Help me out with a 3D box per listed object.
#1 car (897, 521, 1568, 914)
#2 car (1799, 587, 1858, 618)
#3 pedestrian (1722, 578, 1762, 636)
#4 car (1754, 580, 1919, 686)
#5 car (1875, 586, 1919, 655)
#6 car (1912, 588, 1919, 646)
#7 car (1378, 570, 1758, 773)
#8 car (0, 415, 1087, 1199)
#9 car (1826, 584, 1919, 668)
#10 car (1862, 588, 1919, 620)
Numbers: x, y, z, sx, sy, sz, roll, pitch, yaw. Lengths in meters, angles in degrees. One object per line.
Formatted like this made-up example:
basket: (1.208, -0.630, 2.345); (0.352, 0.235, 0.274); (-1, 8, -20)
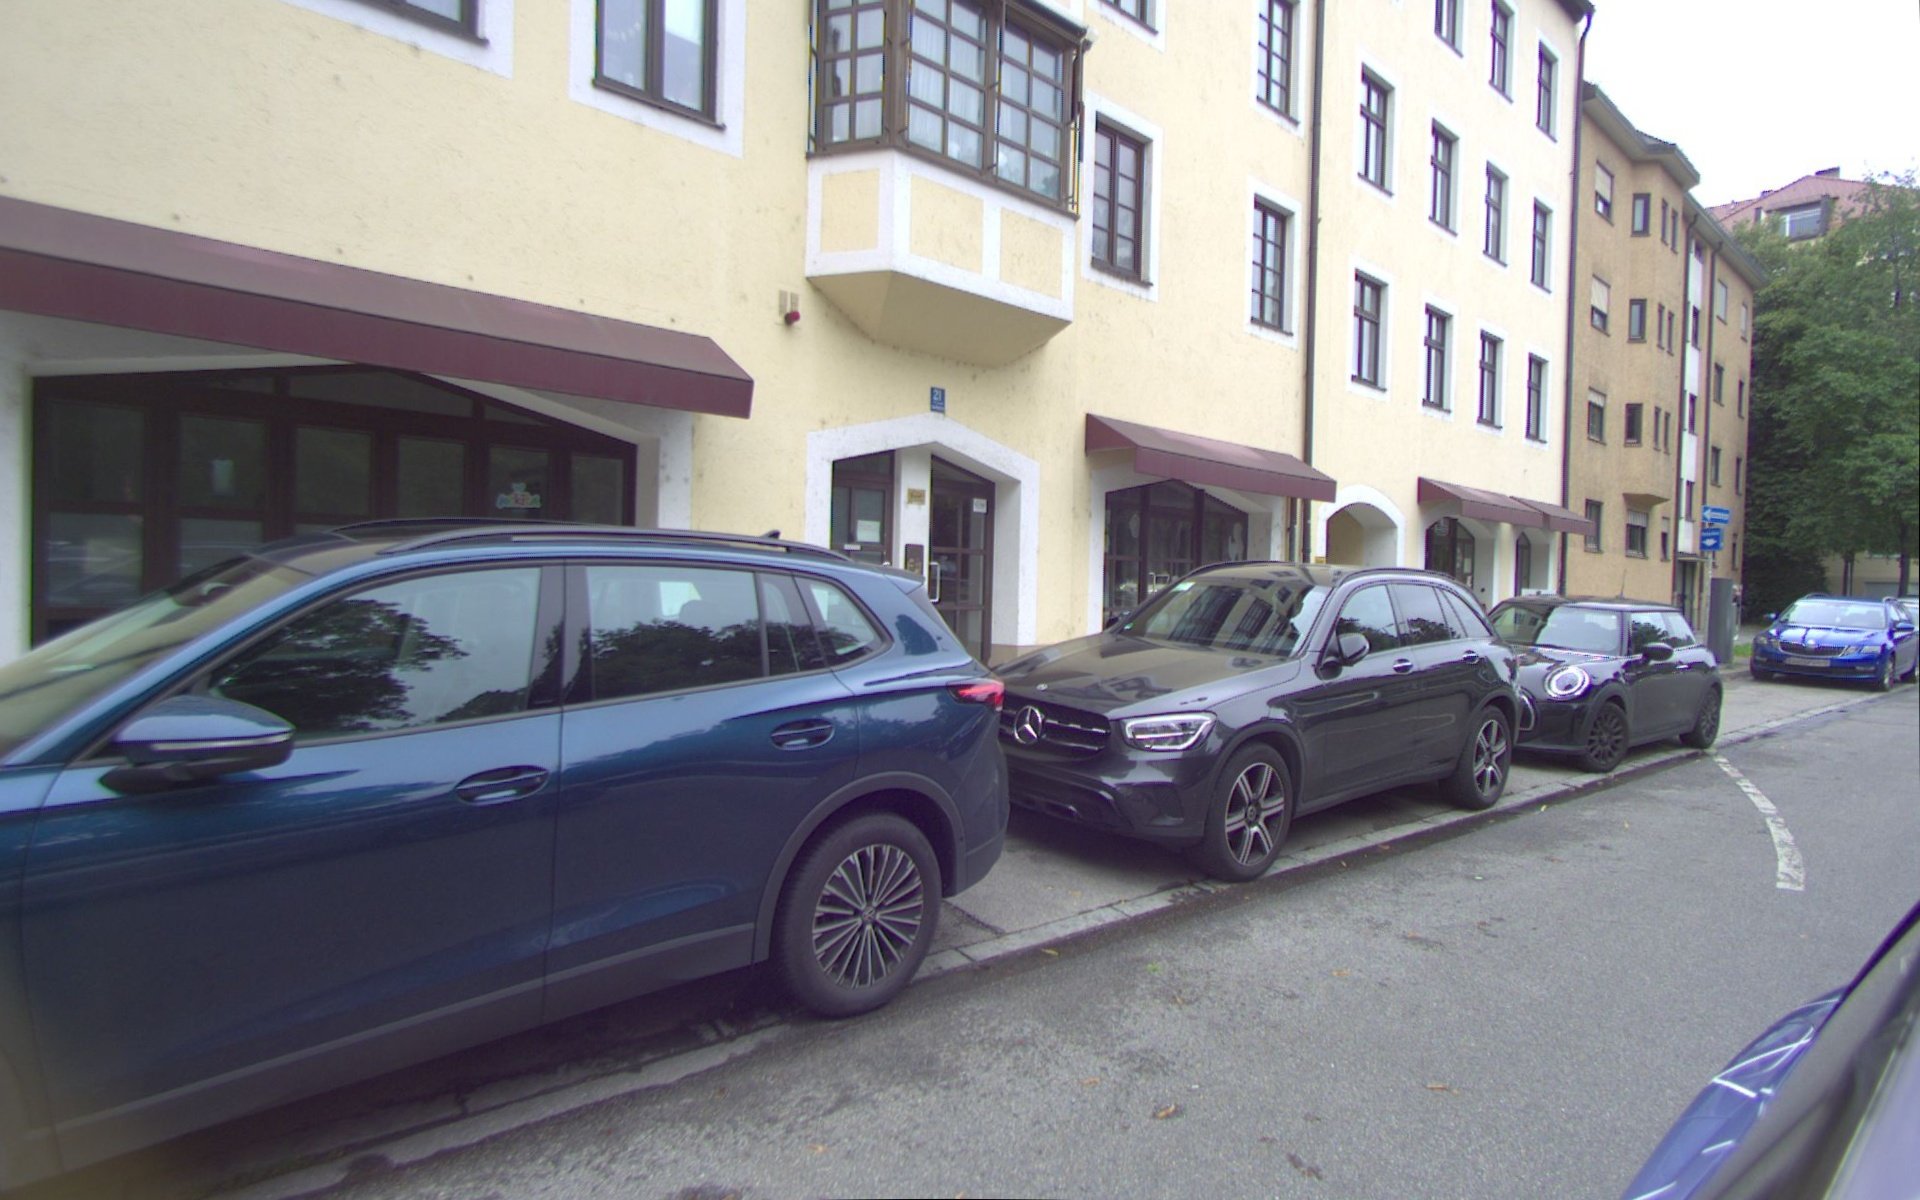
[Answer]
car: (2.003, 0.458, 6.506); (4.622, 1.700, 1.761); (0, 3, -39)
car: (45.414, 0.102, 52.914); (4.174, 1.485, 1.914); (0, 2, -44)
pedestrian: (22.890, 0.184, 29.613); (0.962, 1.644, 0.672); (-1, 2, -38)
car: (15.365, 0.486, 17.357); (4.406, 1.514, 1.761); (0, 3, -39)
car: (23.095, 0.490, 23.865); (3.718, 1.514, 1.632); (0, 3, -39)
car: (26.726, 0.479, 26.820); (3.752, 1.514, 1.632); (0, 3, -39)
car: (5.881, 0.539, 9.670); (3.751, 1.514, 1.763); (0, 3, -36)
car: (-1.784, 0.450, 3.145); (4.432, 1.700, 1.822); (0, 3, -42)
car: (19.233, 0.482, 20.575); (4.354, 1.514, 1.695); (0, 3, -40)
car: (47.086, 0.186, 51.013); (4.174, 1.485, 2.050); (0, 2, -44)
